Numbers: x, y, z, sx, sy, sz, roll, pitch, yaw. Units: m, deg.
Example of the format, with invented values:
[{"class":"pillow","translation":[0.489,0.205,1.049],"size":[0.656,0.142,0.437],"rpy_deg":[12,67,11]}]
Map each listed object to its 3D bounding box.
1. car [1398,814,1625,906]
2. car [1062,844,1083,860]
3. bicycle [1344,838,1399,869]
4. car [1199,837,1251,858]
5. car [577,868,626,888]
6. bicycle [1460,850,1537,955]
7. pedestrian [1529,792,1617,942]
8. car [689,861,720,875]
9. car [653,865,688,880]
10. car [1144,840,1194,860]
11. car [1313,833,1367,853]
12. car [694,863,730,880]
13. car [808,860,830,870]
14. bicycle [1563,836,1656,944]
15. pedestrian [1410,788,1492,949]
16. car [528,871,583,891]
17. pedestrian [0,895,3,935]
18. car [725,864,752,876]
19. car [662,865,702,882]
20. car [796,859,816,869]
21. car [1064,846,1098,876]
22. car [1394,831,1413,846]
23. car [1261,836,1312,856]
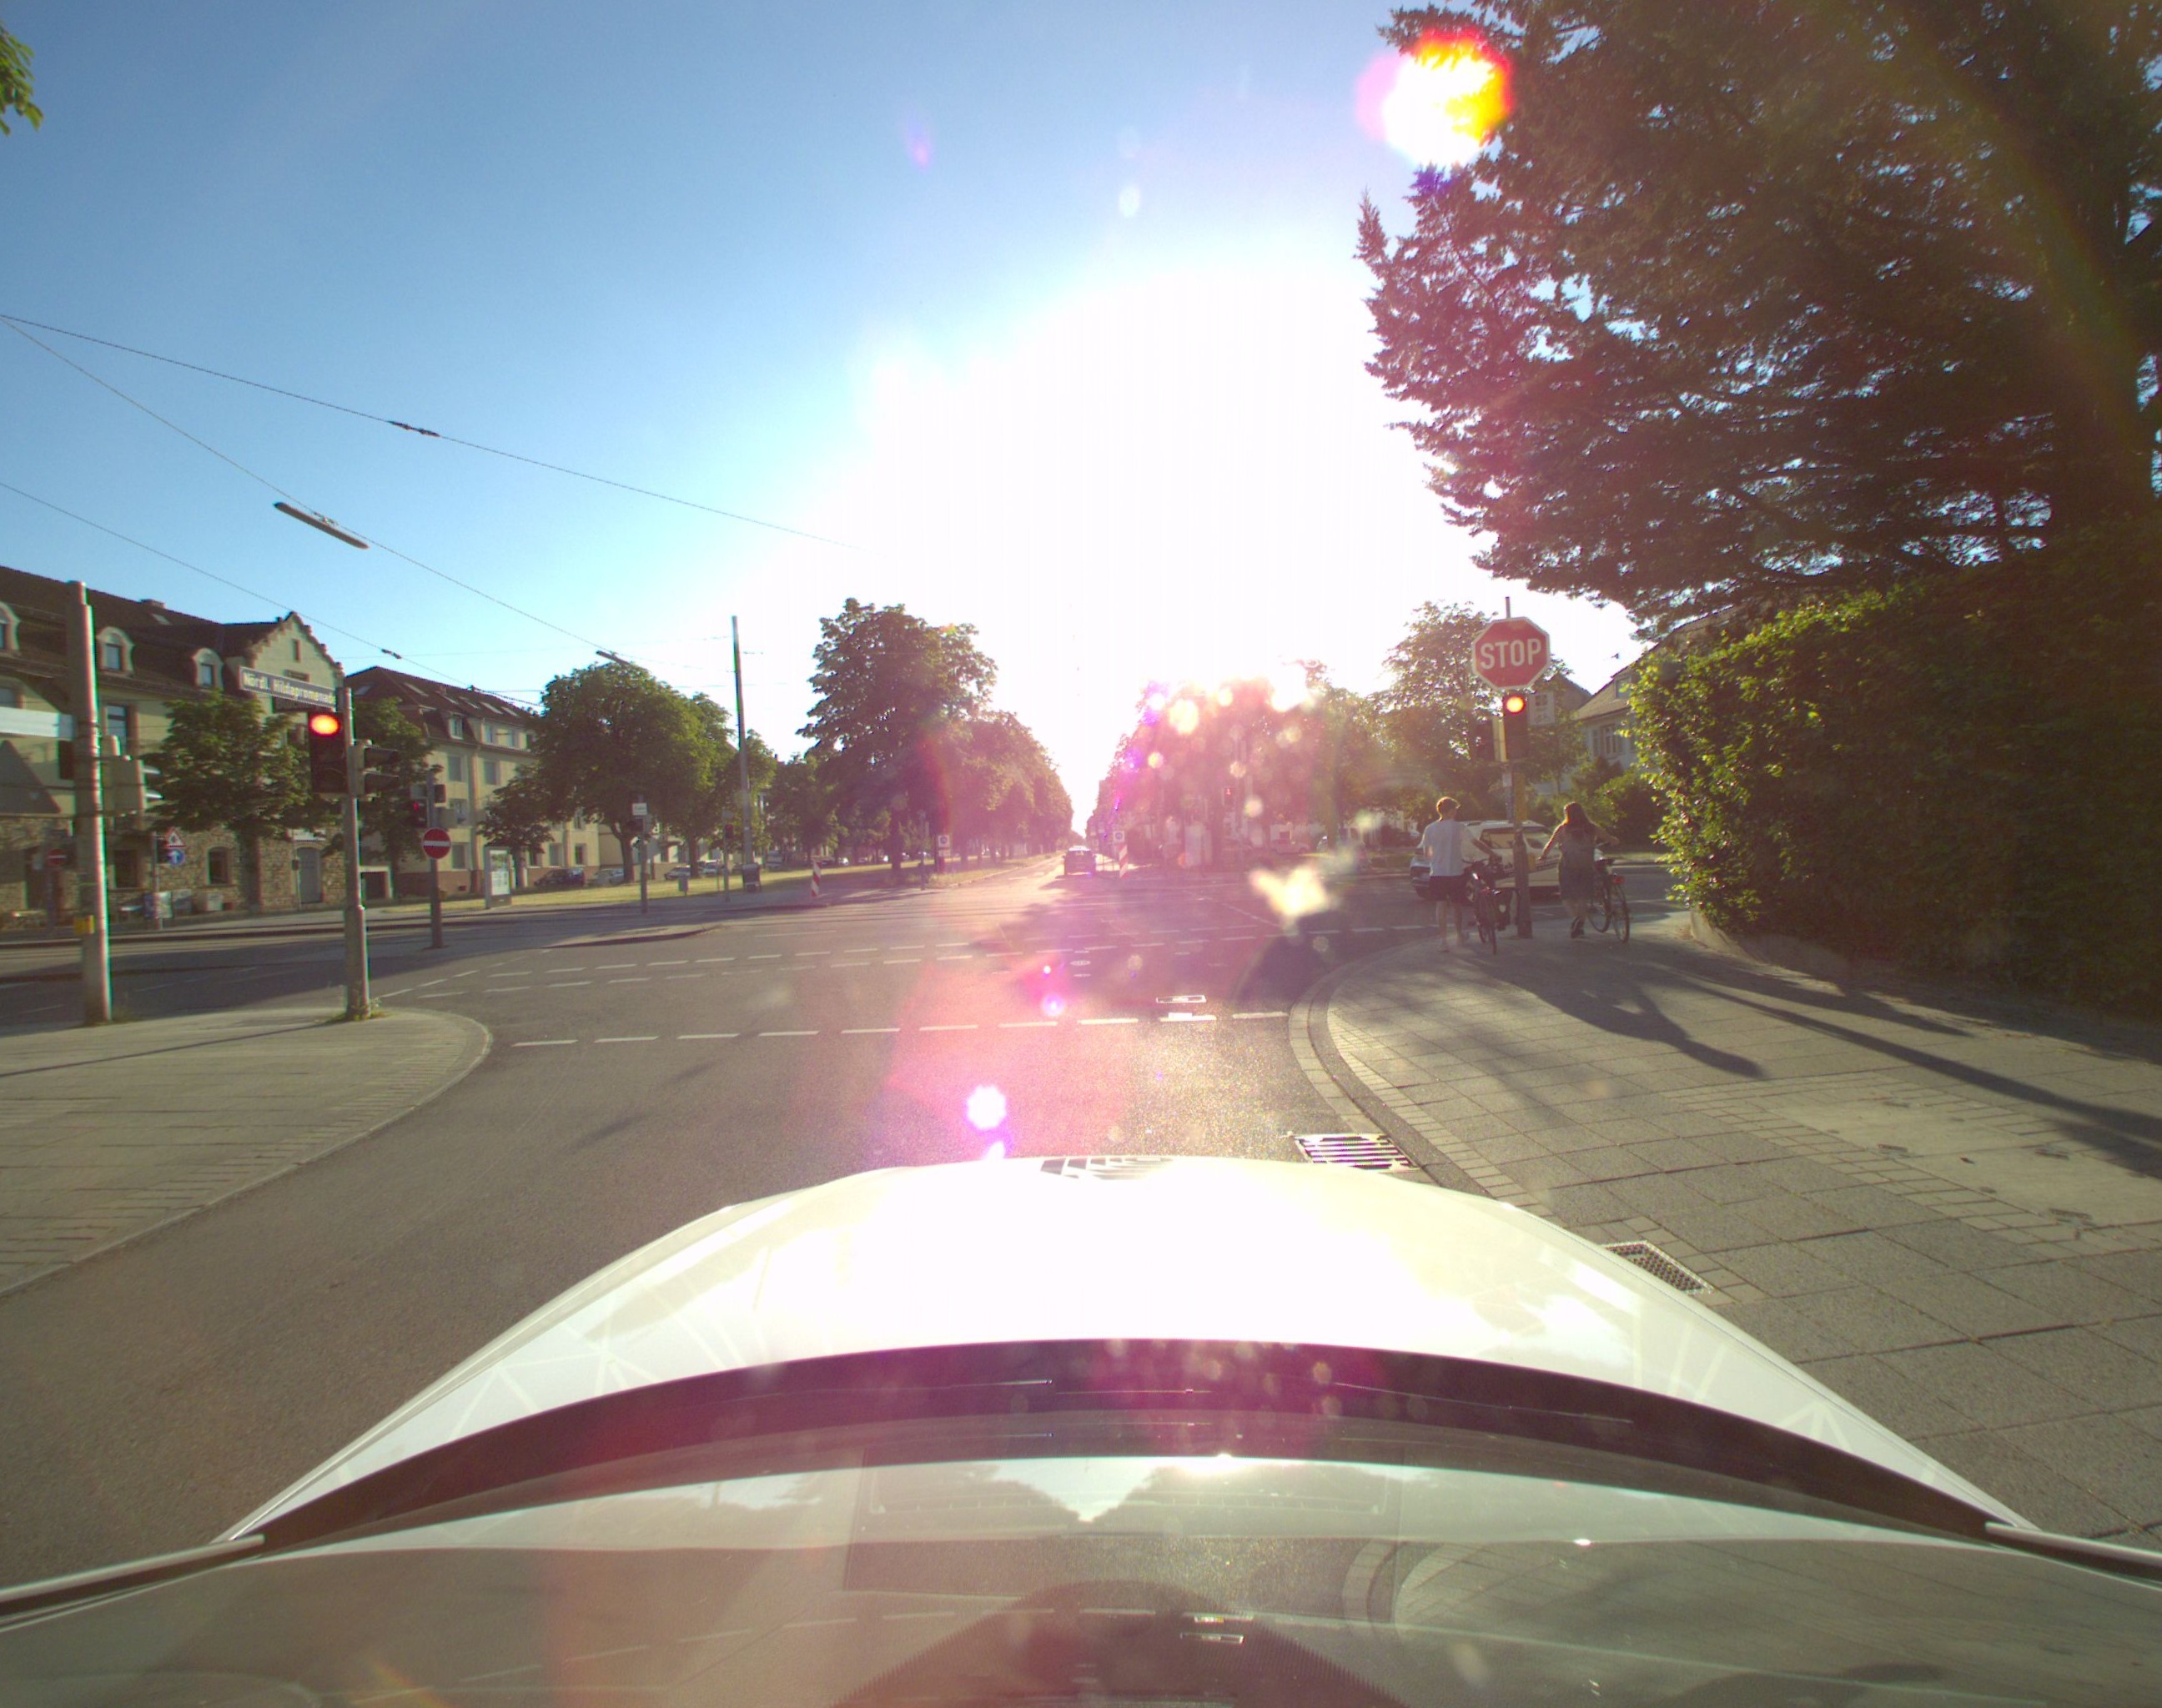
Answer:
[{"class":"car","translation":[8.603,0.066,16.364],"size":[3.865,1.551,1.606],"rpy_deg":[-3,2,-11]},{"class":"car","translation":[-0.776,-0.207,77.986],"size":[1.839,1.393,3.829],"rpy_deg":[-2,1,1]},{"class":"bicycle","translation":[11.644,-0.018,32.719],"size":[1.946,1.132,0.620],"rpy_deg":[-3,0,2]},{"class":"car","translation":[11.502,-0.517,65.214],"size":[3.767,1.525,1.744],"rpy_deg":[-2,2,0]},{"class":"car","translation":[-43.074,2.131,73.247],"size":[1.729,1.427,3.800],"rpy_deg":[-2,2,6]},{"class":"bicycle","translation":[4.998,0.536,9.835],"size":[0.483,1.097,1.799],"rpy_deg":[-5,-1,19]},{"class":"pedestrian","translation":[5.921,0.148,9.837],"size":[0.663,1.708,0.626],"rpy_deg":[-6,1,20]},{"class":"car","translation":[-43.109,1.565,93.272],"size":[1.732,1.427,3.793],"rpy_deg":[-2,0,1]},{"class":"car","translation":[-43.920,1.982,87.195],"size":[1.732,1.427,3.793],"rpy_deg":[-3,0,1]},{"class":"car","translation":[7.003,-0.320,64.994],"size":[3.767,1.427,1.744],"rpy_deg":[-2,2,0]},{"class":"car","translation":[20.895,-0.897,65.709],"size":[3.838,1.427,1.595],"rpy_deg":[-2,0,-4]},{"class":"car","translation":[-37.318,1.755,82.445],"size":[1.732,1.427,3.793],"rpy_deg":[-2,2,1]},{"class":"car","translation":[-37.706,1.577,117.263],"size":[1.732,1.427,3.793],"rpy_deg":[-2,0,1]},{"class":"bicycle","translation":[6.258,0.385,9.712],"size":[0.483,1.142,1.606],"rpy_deg":[-5,0,19]},{"class":"pedestrian","translation":[4.582,0.179,10.146],"size":[0.665,1.865,0.886],"rpy_deg":[-6,-2,19]},{"class":"car","translation":[-43.116,2.205,66.864],"size":[1.729,1.397,3.799],"rpy_deg":[-2,0,6]},{"class":"pedestrian","translation":[-45.343,2.565,33.573],"size":[0.808,1.642,0.727],"rpy_deg":[-2,0,8]},{"class":"car","translation":[-43.531,2.005,103.561],"size":[1.732,1.427,3.793],"rpy_deg":[-2,0,1]},{"class":"car","translation":[-37.334,1.796,76.345],"size":[1.732,1.427,3.793],"rpy_deg":[-2,1,1]},{"class":"car","translation":[-43.087,1.496,127.646],"size":[1.732,1.427,3.793],"rpy_deg":[-2,0,1]},{"class":"car","translation":[0.033,0.348,44.032],"size":[1.634,1.450,3.310],"rpy_deg":[-2,1,3]},{"class":"car","translation":[33.068,-1.584,83.453],"size":[1.649,1.417,3.563],"rpy_deg":[-2,0,24]},{"class":"car","translation":[16.383,-0.638,65.042],"size":[3.656,1.427,1.529],"rpy_deg":[-2,0,-4]}]
